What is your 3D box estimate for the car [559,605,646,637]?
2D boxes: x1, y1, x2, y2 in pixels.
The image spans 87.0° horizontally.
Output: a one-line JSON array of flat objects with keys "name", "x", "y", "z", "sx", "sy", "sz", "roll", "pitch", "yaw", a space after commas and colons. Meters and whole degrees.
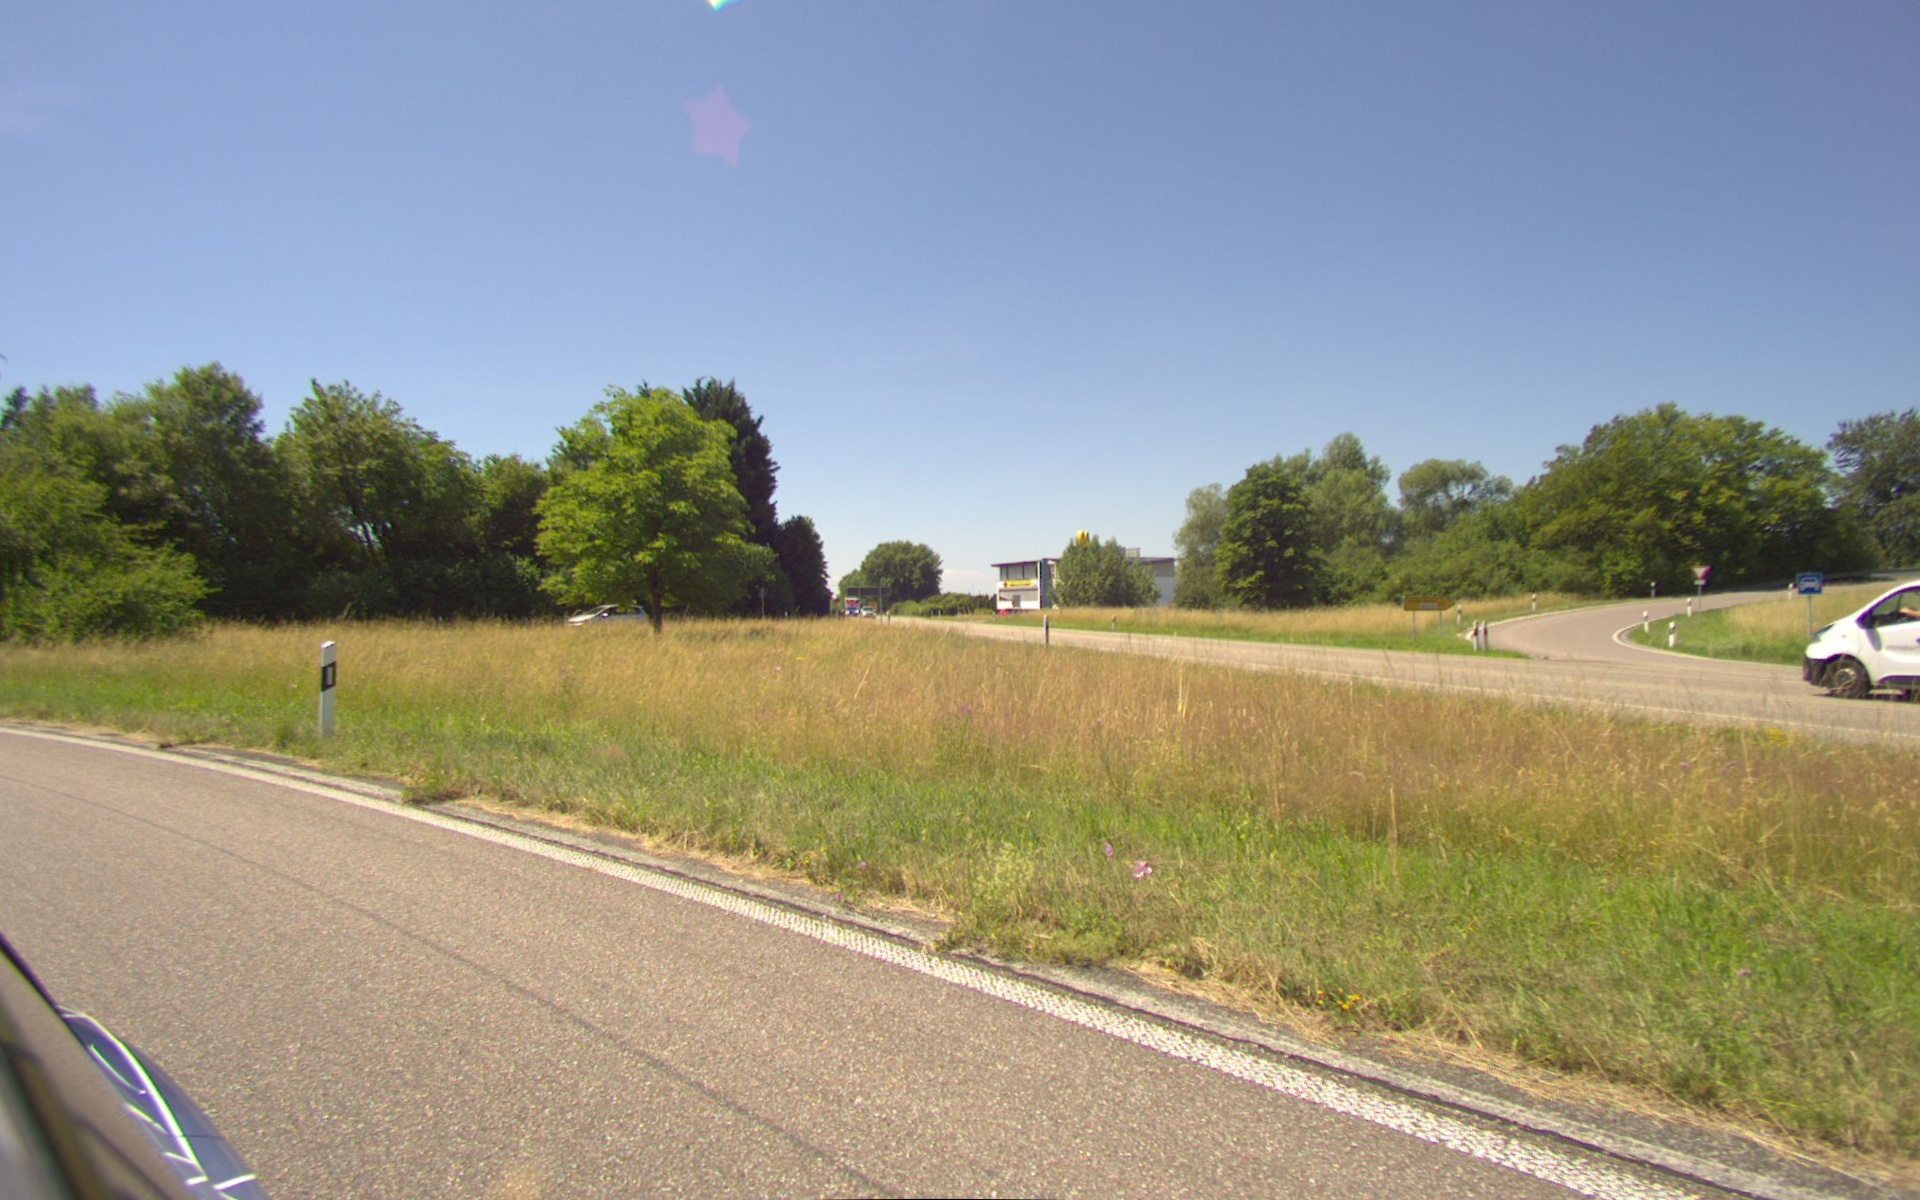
[{"name": "car", "x": -18.844, "y": 1.155, "z": 53.377, "sx": 3.935, "sy": 1.608, "sz": 1.861, "roll": 2, "pitch": -3, "yaw": -37}]

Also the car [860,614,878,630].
[{"name": "car", "x": -11.820, "y": 2.835, "z": 130.837, "sx": 1.883, "sy": 1.976, "sz": 4.466, "roll": 0, "pitch": -3, "yaw": -11}]

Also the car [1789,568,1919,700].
[{"name": "car", "x": 15.535, "y": 0.472, "z": 14.564, "sx": 1.882, "sy": 1.976, "sz": 5.409, "roll": 0, "pitch": -3, "yaw": -16}]
